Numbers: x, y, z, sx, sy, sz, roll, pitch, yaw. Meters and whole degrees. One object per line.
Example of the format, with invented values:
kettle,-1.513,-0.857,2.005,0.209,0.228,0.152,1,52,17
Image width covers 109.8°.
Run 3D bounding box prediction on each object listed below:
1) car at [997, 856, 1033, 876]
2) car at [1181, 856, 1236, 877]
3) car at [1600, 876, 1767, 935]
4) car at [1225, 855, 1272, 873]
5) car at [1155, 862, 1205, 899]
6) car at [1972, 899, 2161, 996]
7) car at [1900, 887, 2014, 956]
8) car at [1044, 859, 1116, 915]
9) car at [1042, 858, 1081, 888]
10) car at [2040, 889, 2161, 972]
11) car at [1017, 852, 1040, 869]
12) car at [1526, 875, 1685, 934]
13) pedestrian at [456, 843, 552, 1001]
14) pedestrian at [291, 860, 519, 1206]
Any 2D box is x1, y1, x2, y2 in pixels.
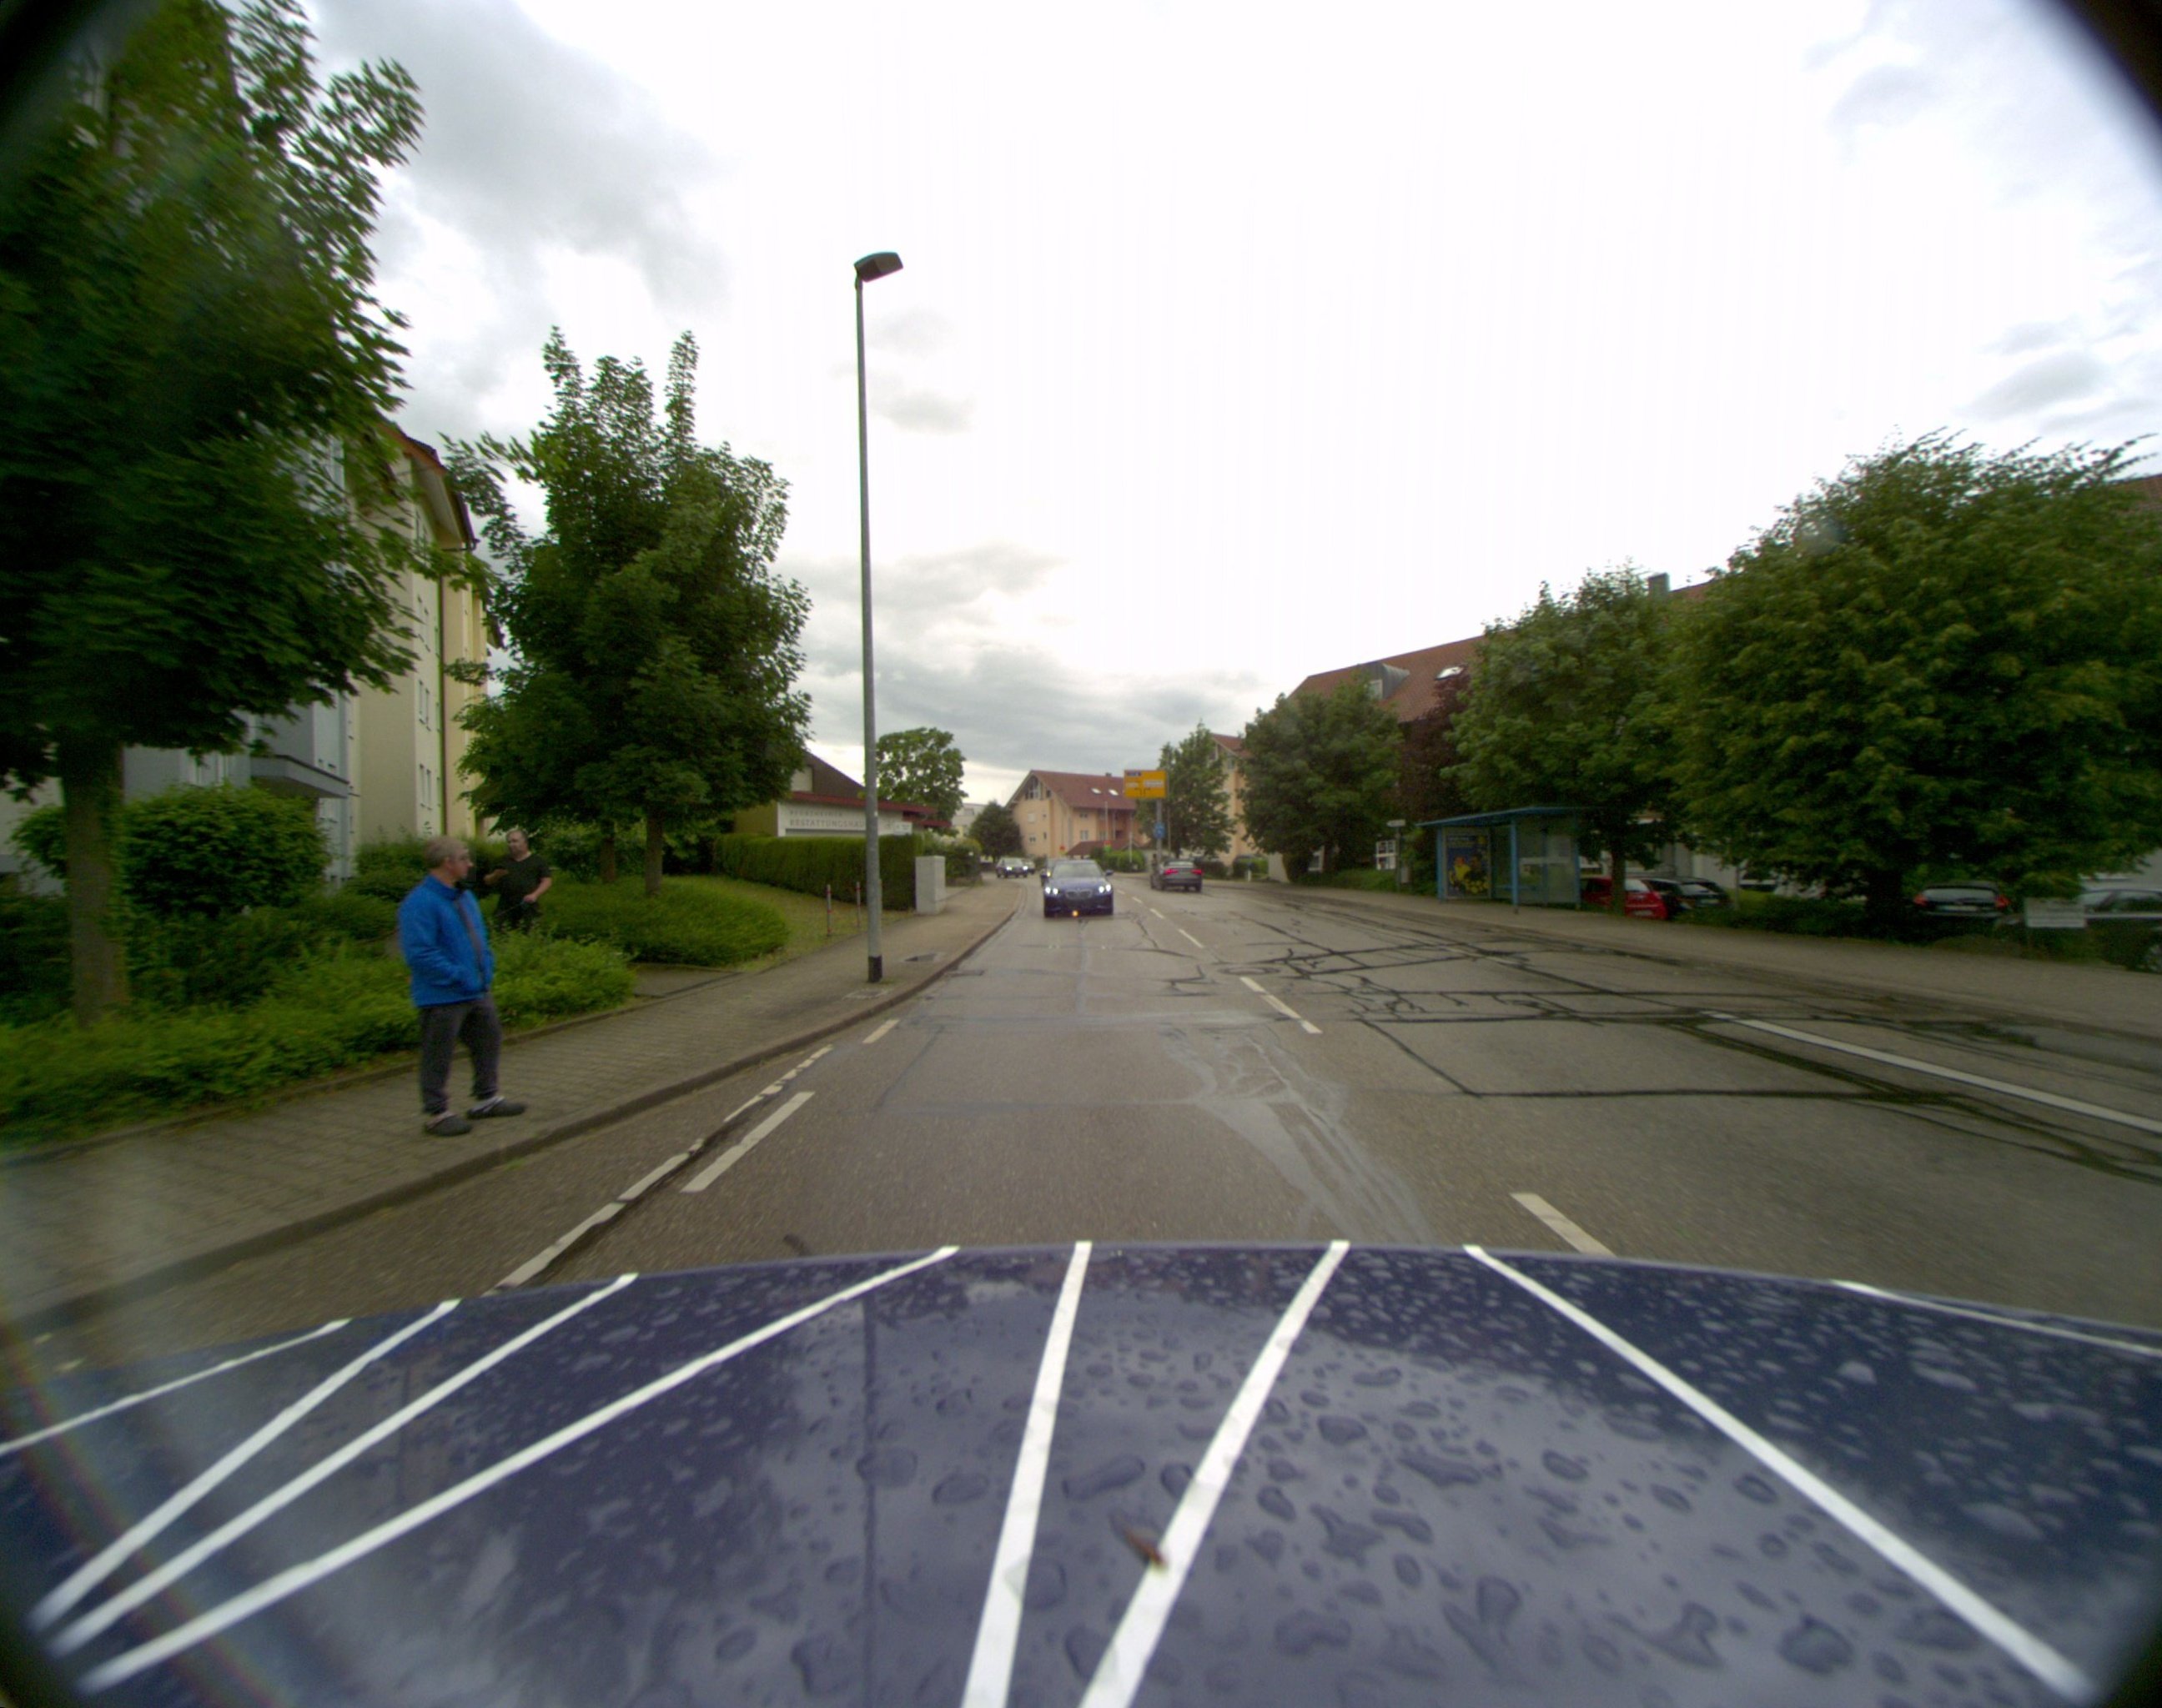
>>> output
car,-5.439,0.994,62.205,1.844,1.541,3.993,-2,0,-21
car,9.875,0.971,58.966,1.741,1.592,3.989,0,0,-40
car,17.896,1.462,22.831,1.615,1.455,3.998,-2,0,-5
car,13.393,0.806,60.878,1.519,1.373,3.430,0,0,-40
car,4.306,1.125,33.540,1.678,1.434,4.000,-2,0,1
car,18.131,1.574,12.864,1.996,1.412,4.173,2,-1,17
car,22.274,1.639,19.294,3.437,1.386,1.666,-2,1,-37
car,-0.084,0.913,22.680,1.913,1.425,4.300,-2,0,-1
car,-1.081,0.951,40.076,1.841,1.440,3.998,-2,0,-4
car,22.504,1.603,16.636,3.723,1.424,1.666,-2,1,-41
car,-5.119,0.621,73.675,1.669,1.516,3.996,0,0,-11
car,15.487,1.433,22.725,1.774,1.455,3.998,-2,0,-5
pedestrian,-6.728,0.764,8.896,0.615,1.762,0.670,-2,0,-12
pedestrian,-3.595,0.868,4.119,0.591,1.656,0.774,-2,1,-16
